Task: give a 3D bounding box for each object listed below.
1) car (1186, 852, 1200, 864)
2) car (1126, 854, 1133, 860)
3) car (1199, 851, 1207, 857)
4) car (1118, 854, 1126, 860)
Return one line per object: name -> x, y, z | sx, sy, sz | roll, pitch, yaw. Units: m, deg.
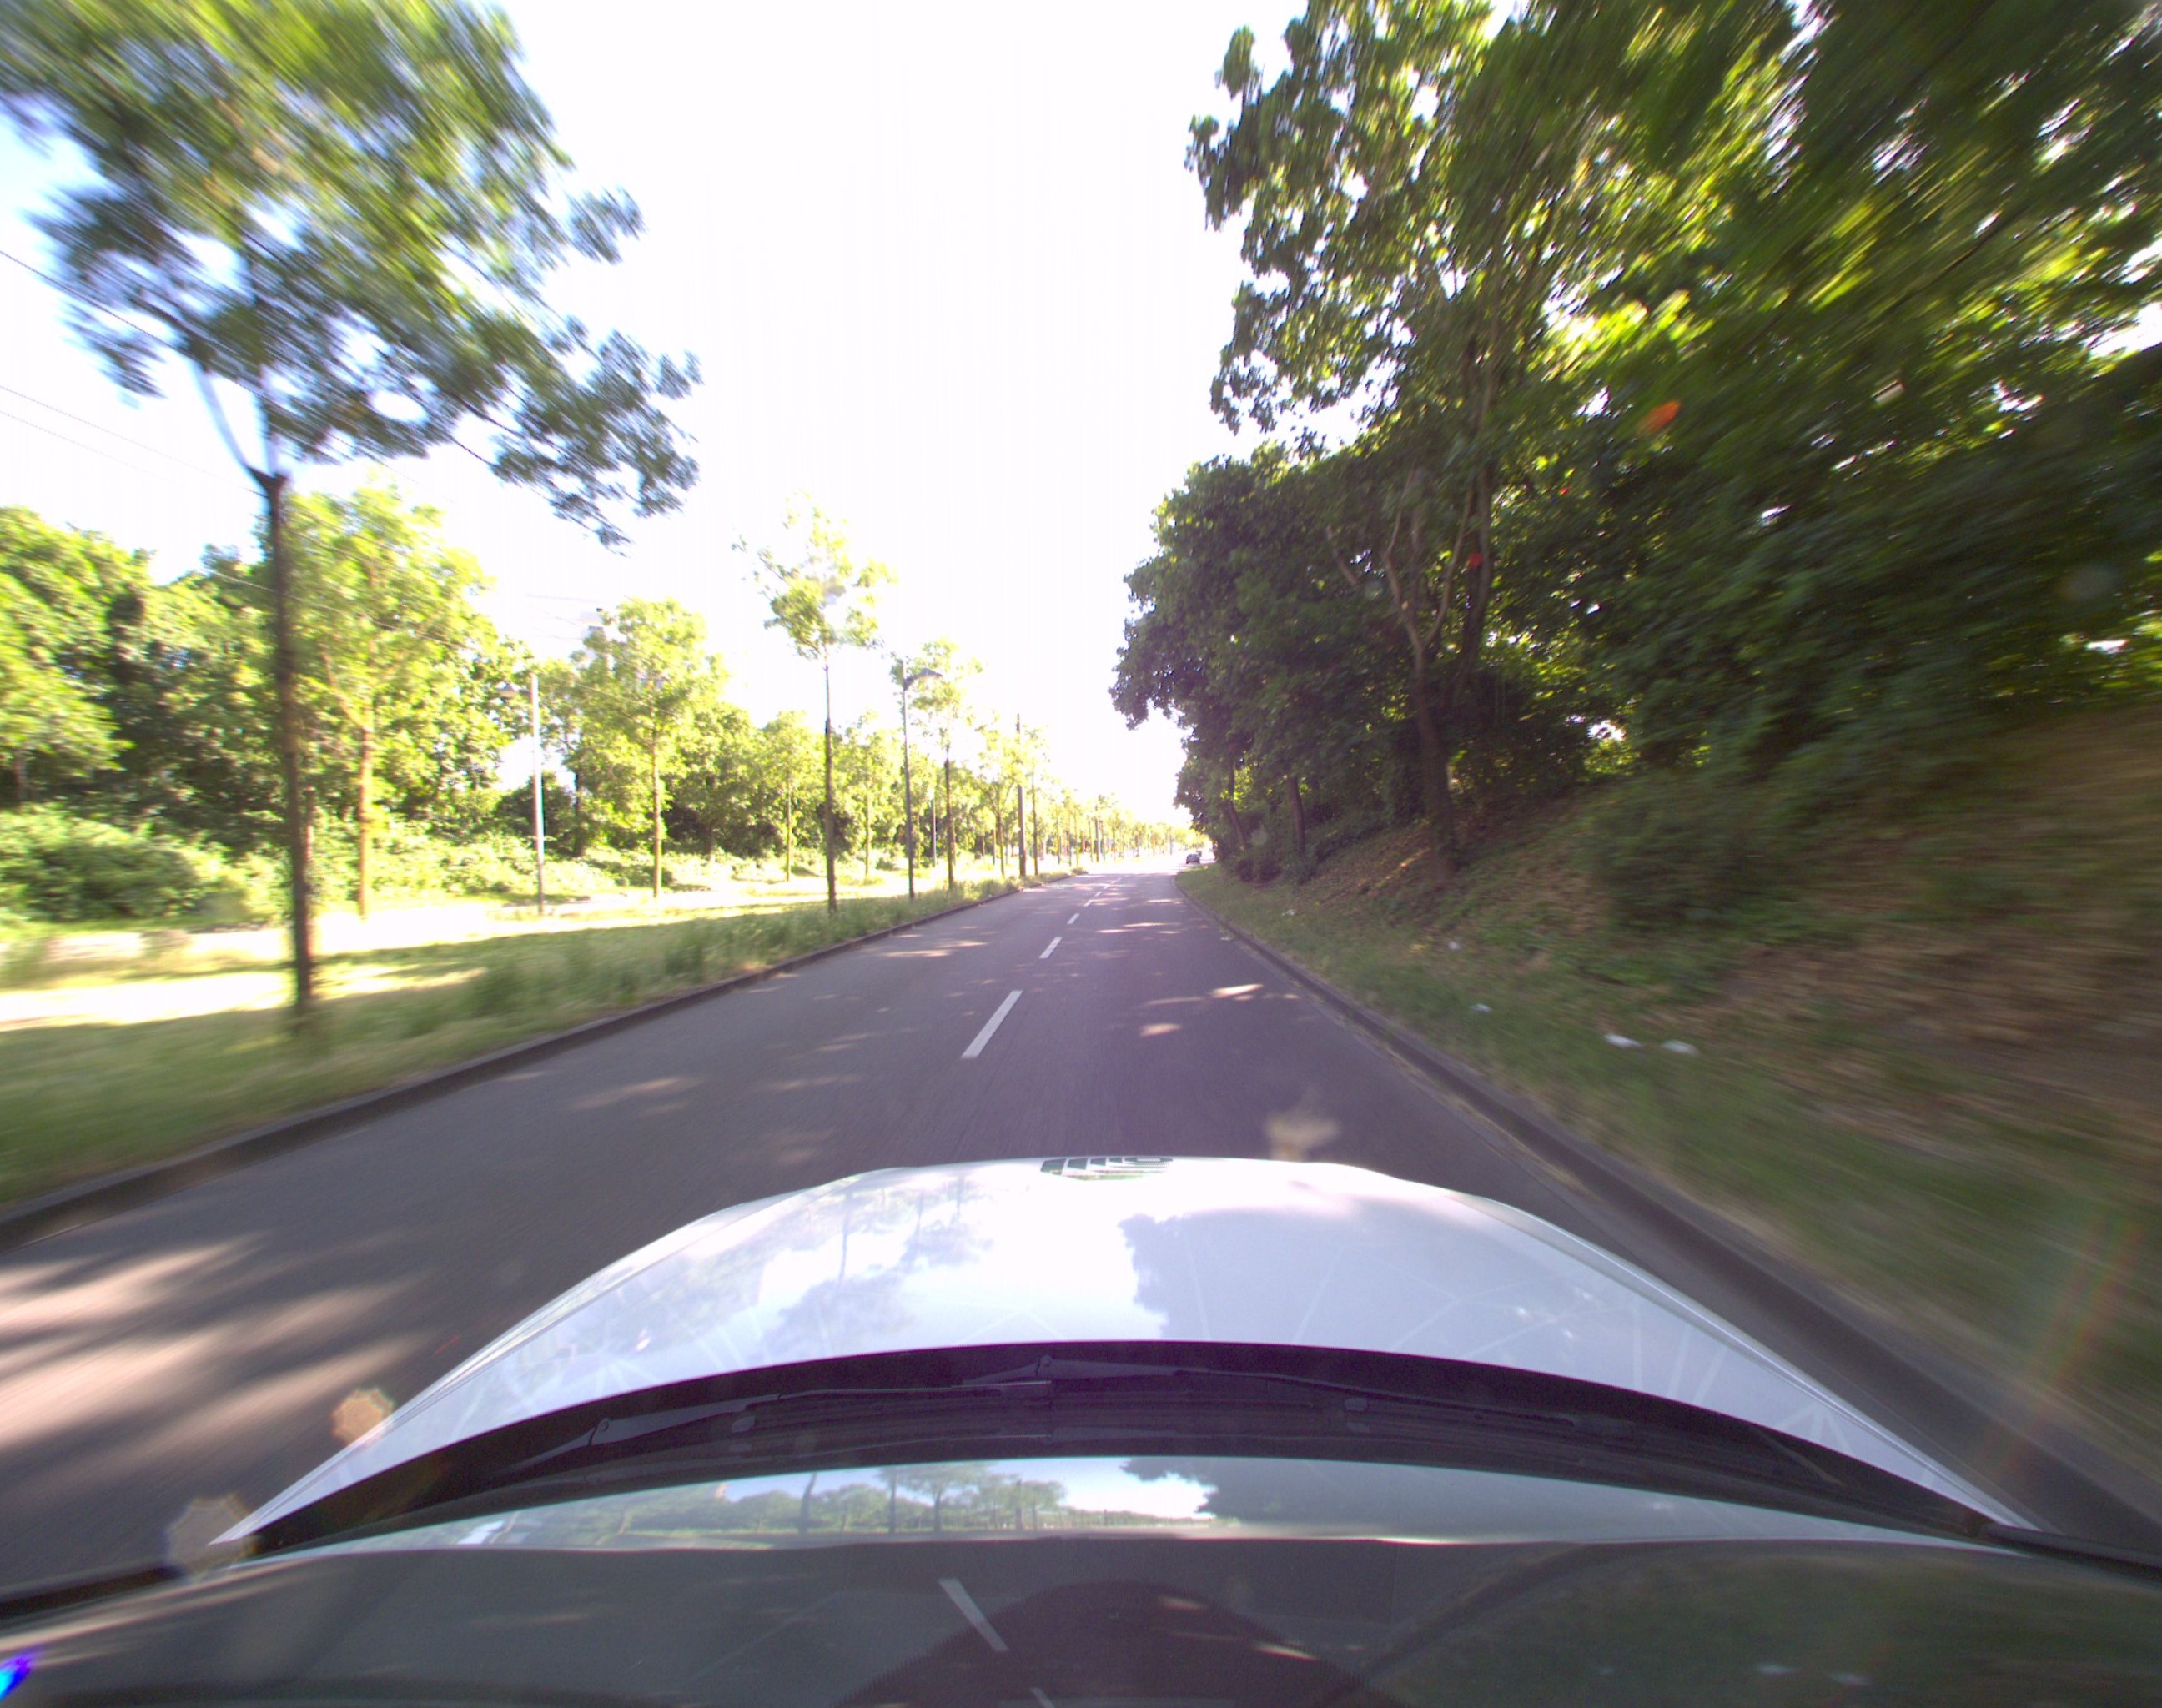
car -> 14.809, 0.570, 107.584 | 1.624, 1.498, 4.246 | -1, 0, 9
car -> 14.473, 0.964, 245.074 | 1.621, 1.680, 4.204 | -1, 0, 10
car -> 28.977, -0.055, 194.036 | 1.623, 1.498, 4.248 | -1, 0, 11
car -> 11.612, 0.954, 230.260 | 1.621, 1.680, 4.202 | -1, 0, 9
